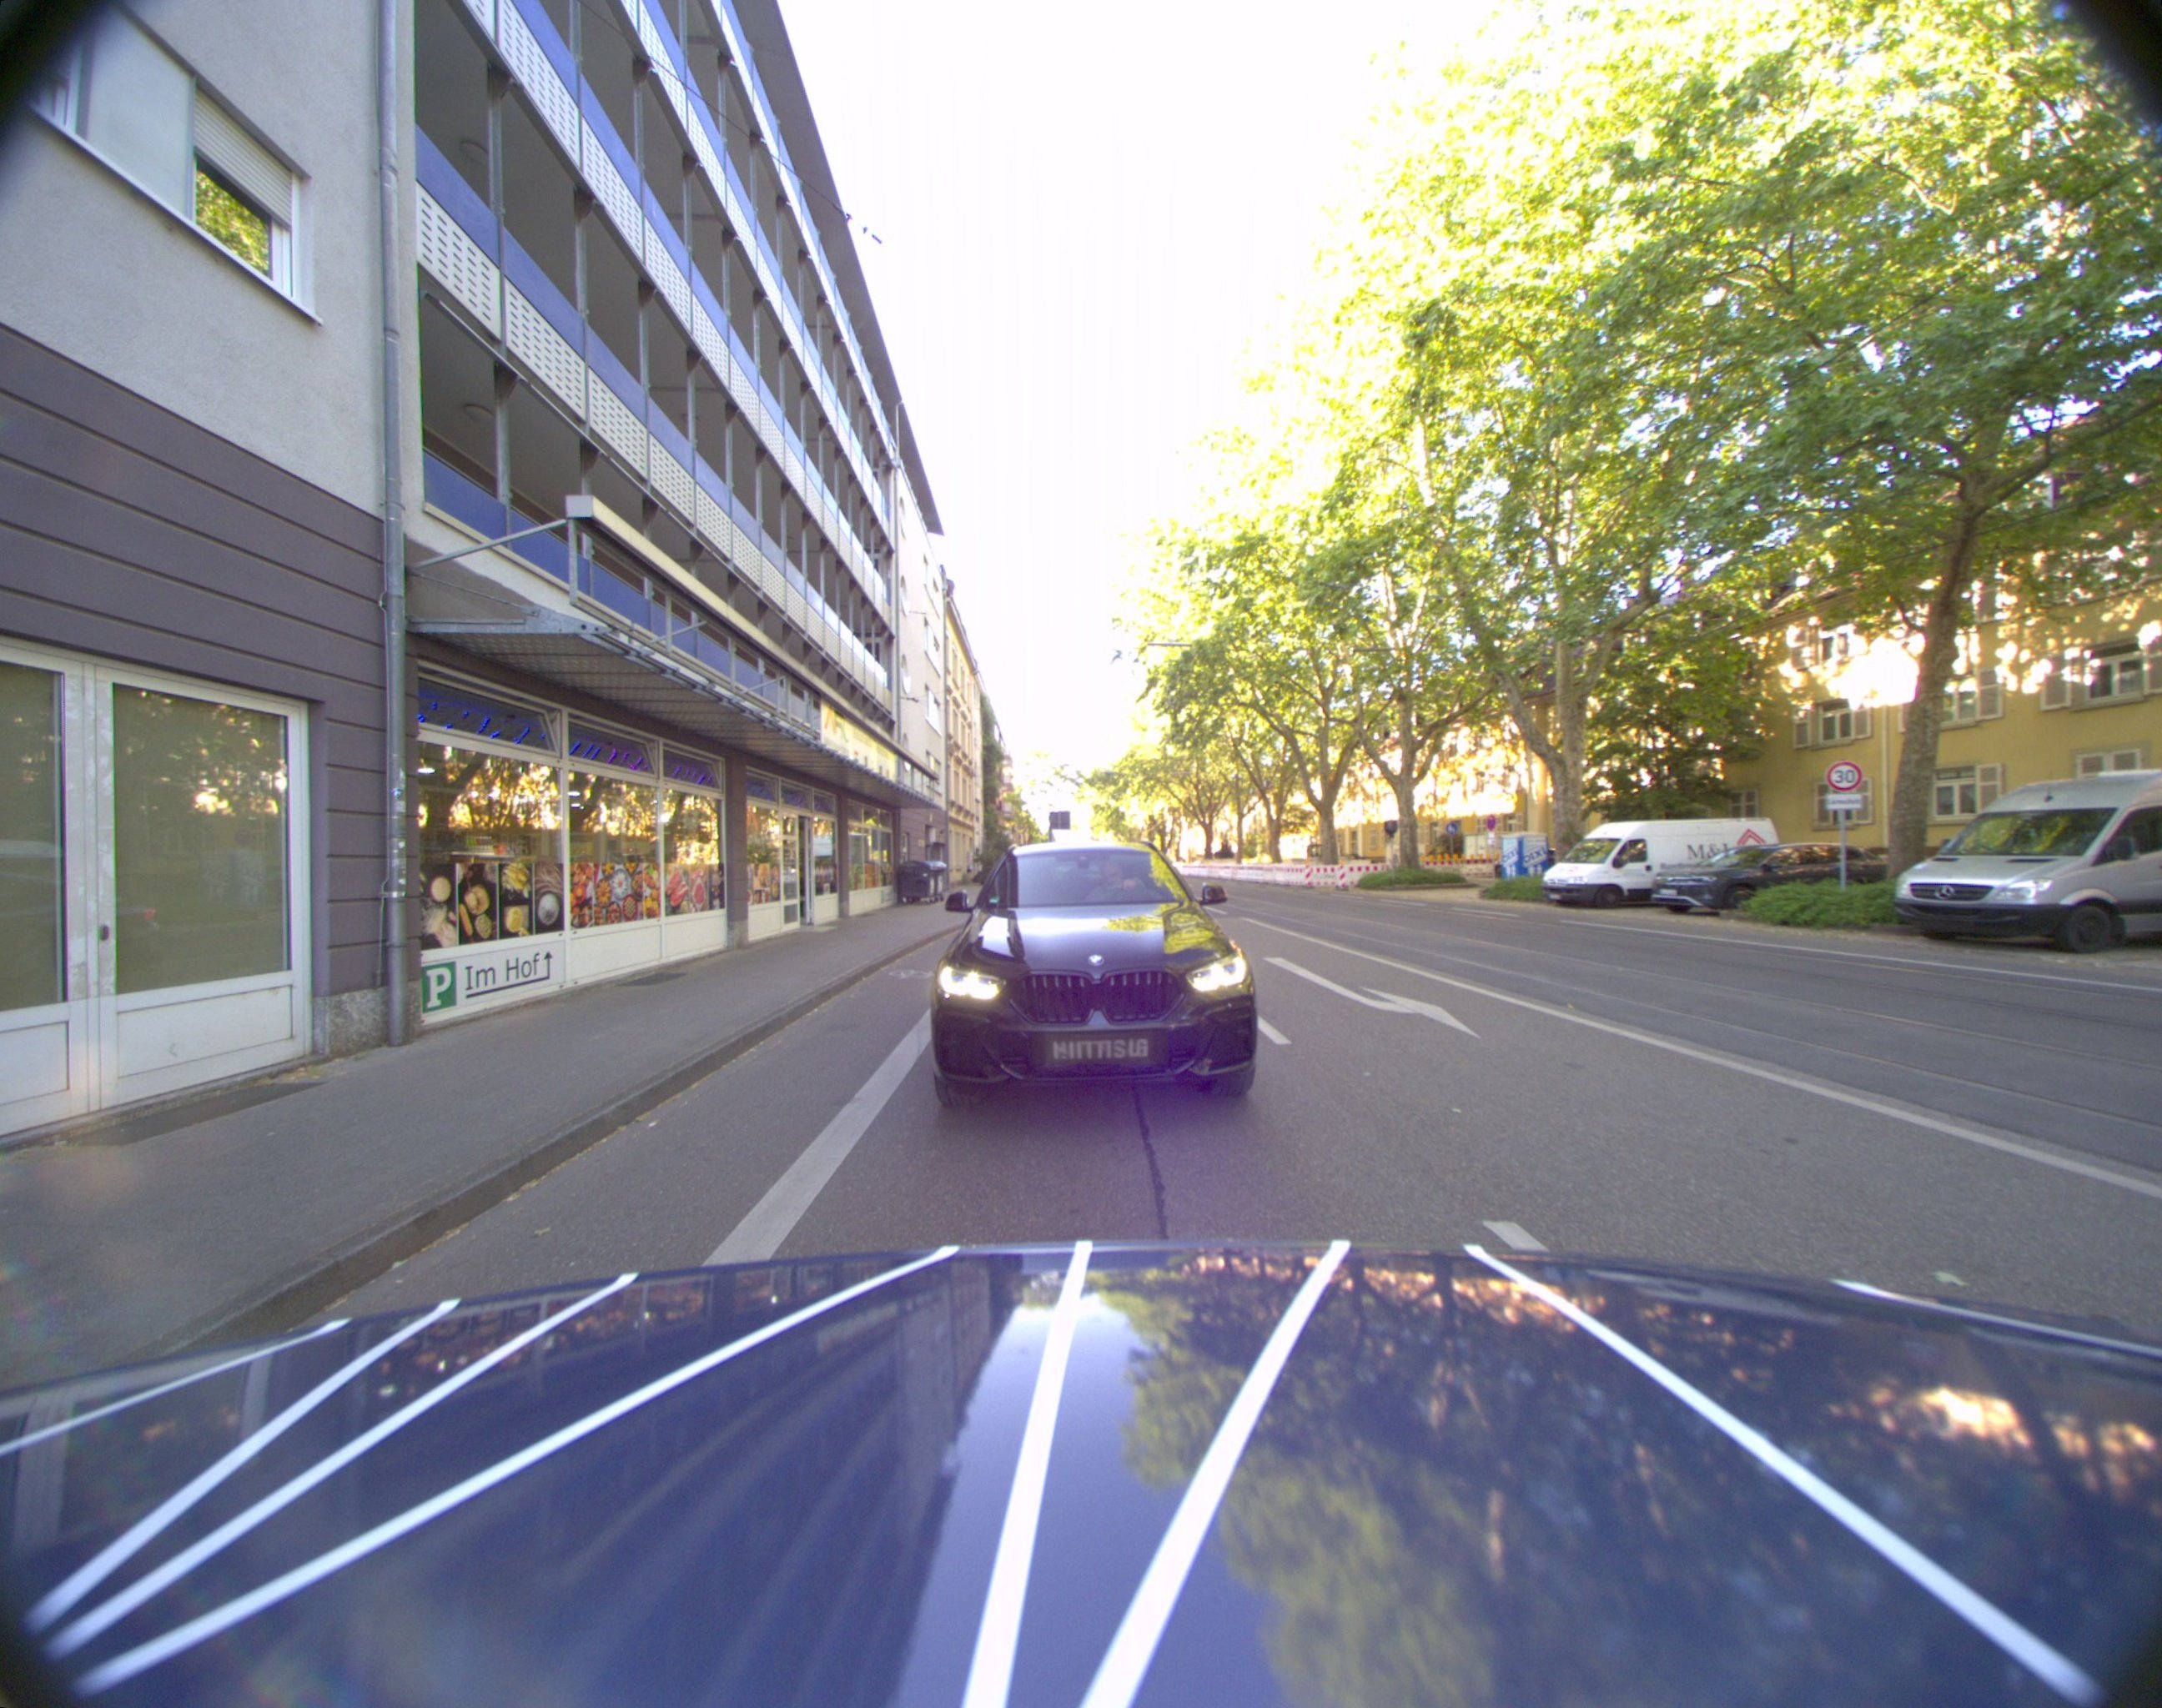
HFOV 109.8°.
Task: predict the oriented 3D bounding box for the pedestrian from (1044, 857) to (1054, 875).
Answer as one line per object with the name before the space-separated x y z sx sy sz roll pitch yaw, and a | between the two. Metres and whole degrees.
pedestrian | -3.200 1.229 76.862 0.876 1.728 0.848 -3 1 1

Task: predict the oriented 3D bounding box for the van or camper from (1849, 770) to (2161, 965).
van or camper | 16.088 0.128 11.809 6.127 2.661 2.229 -2 0 -2

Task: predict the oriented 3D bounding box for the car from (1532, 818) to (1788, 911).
car | 15.850 0.273 21.009 5.612 2.361 2.025 -1 0 -2

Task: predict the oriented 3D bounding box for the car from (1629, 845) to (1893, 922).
car | 15.939 0.656 17.982 4.575 1.621 1.969 -1 0 -2

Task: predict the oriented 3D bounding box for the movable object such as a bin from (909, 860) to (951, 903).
movable object such as a bin | -5.288 0.953 26.717 1.122 1.437 1.306 -1 0 4

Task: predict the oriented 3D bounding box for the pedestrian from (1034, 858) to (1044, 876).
pedestrian | -4.227 1.281 76.749 0.876 1.728 0.848 -3 1 4

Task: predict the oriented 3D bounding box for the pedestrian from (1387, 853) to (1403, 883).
pedestrian | 16.311 0.715 39.451 0.716 1.563 0.597 -1 0 22

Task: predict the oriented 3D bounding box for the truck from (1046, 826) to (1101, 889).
truck | -0.576 0.201 43.166 2.385 3.165 8.525 2 0 -5

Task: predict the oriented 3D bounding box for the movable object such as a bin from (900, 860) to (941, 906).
movable object such as a bin | -5.229 0.933 24.821 1.069 1.438 1.296 -1 0 -1

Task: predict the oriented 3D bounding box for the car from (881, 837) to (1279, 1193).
car | 0.019 0.825 6.068 1.943 1.733 4.475 -2 0 1
